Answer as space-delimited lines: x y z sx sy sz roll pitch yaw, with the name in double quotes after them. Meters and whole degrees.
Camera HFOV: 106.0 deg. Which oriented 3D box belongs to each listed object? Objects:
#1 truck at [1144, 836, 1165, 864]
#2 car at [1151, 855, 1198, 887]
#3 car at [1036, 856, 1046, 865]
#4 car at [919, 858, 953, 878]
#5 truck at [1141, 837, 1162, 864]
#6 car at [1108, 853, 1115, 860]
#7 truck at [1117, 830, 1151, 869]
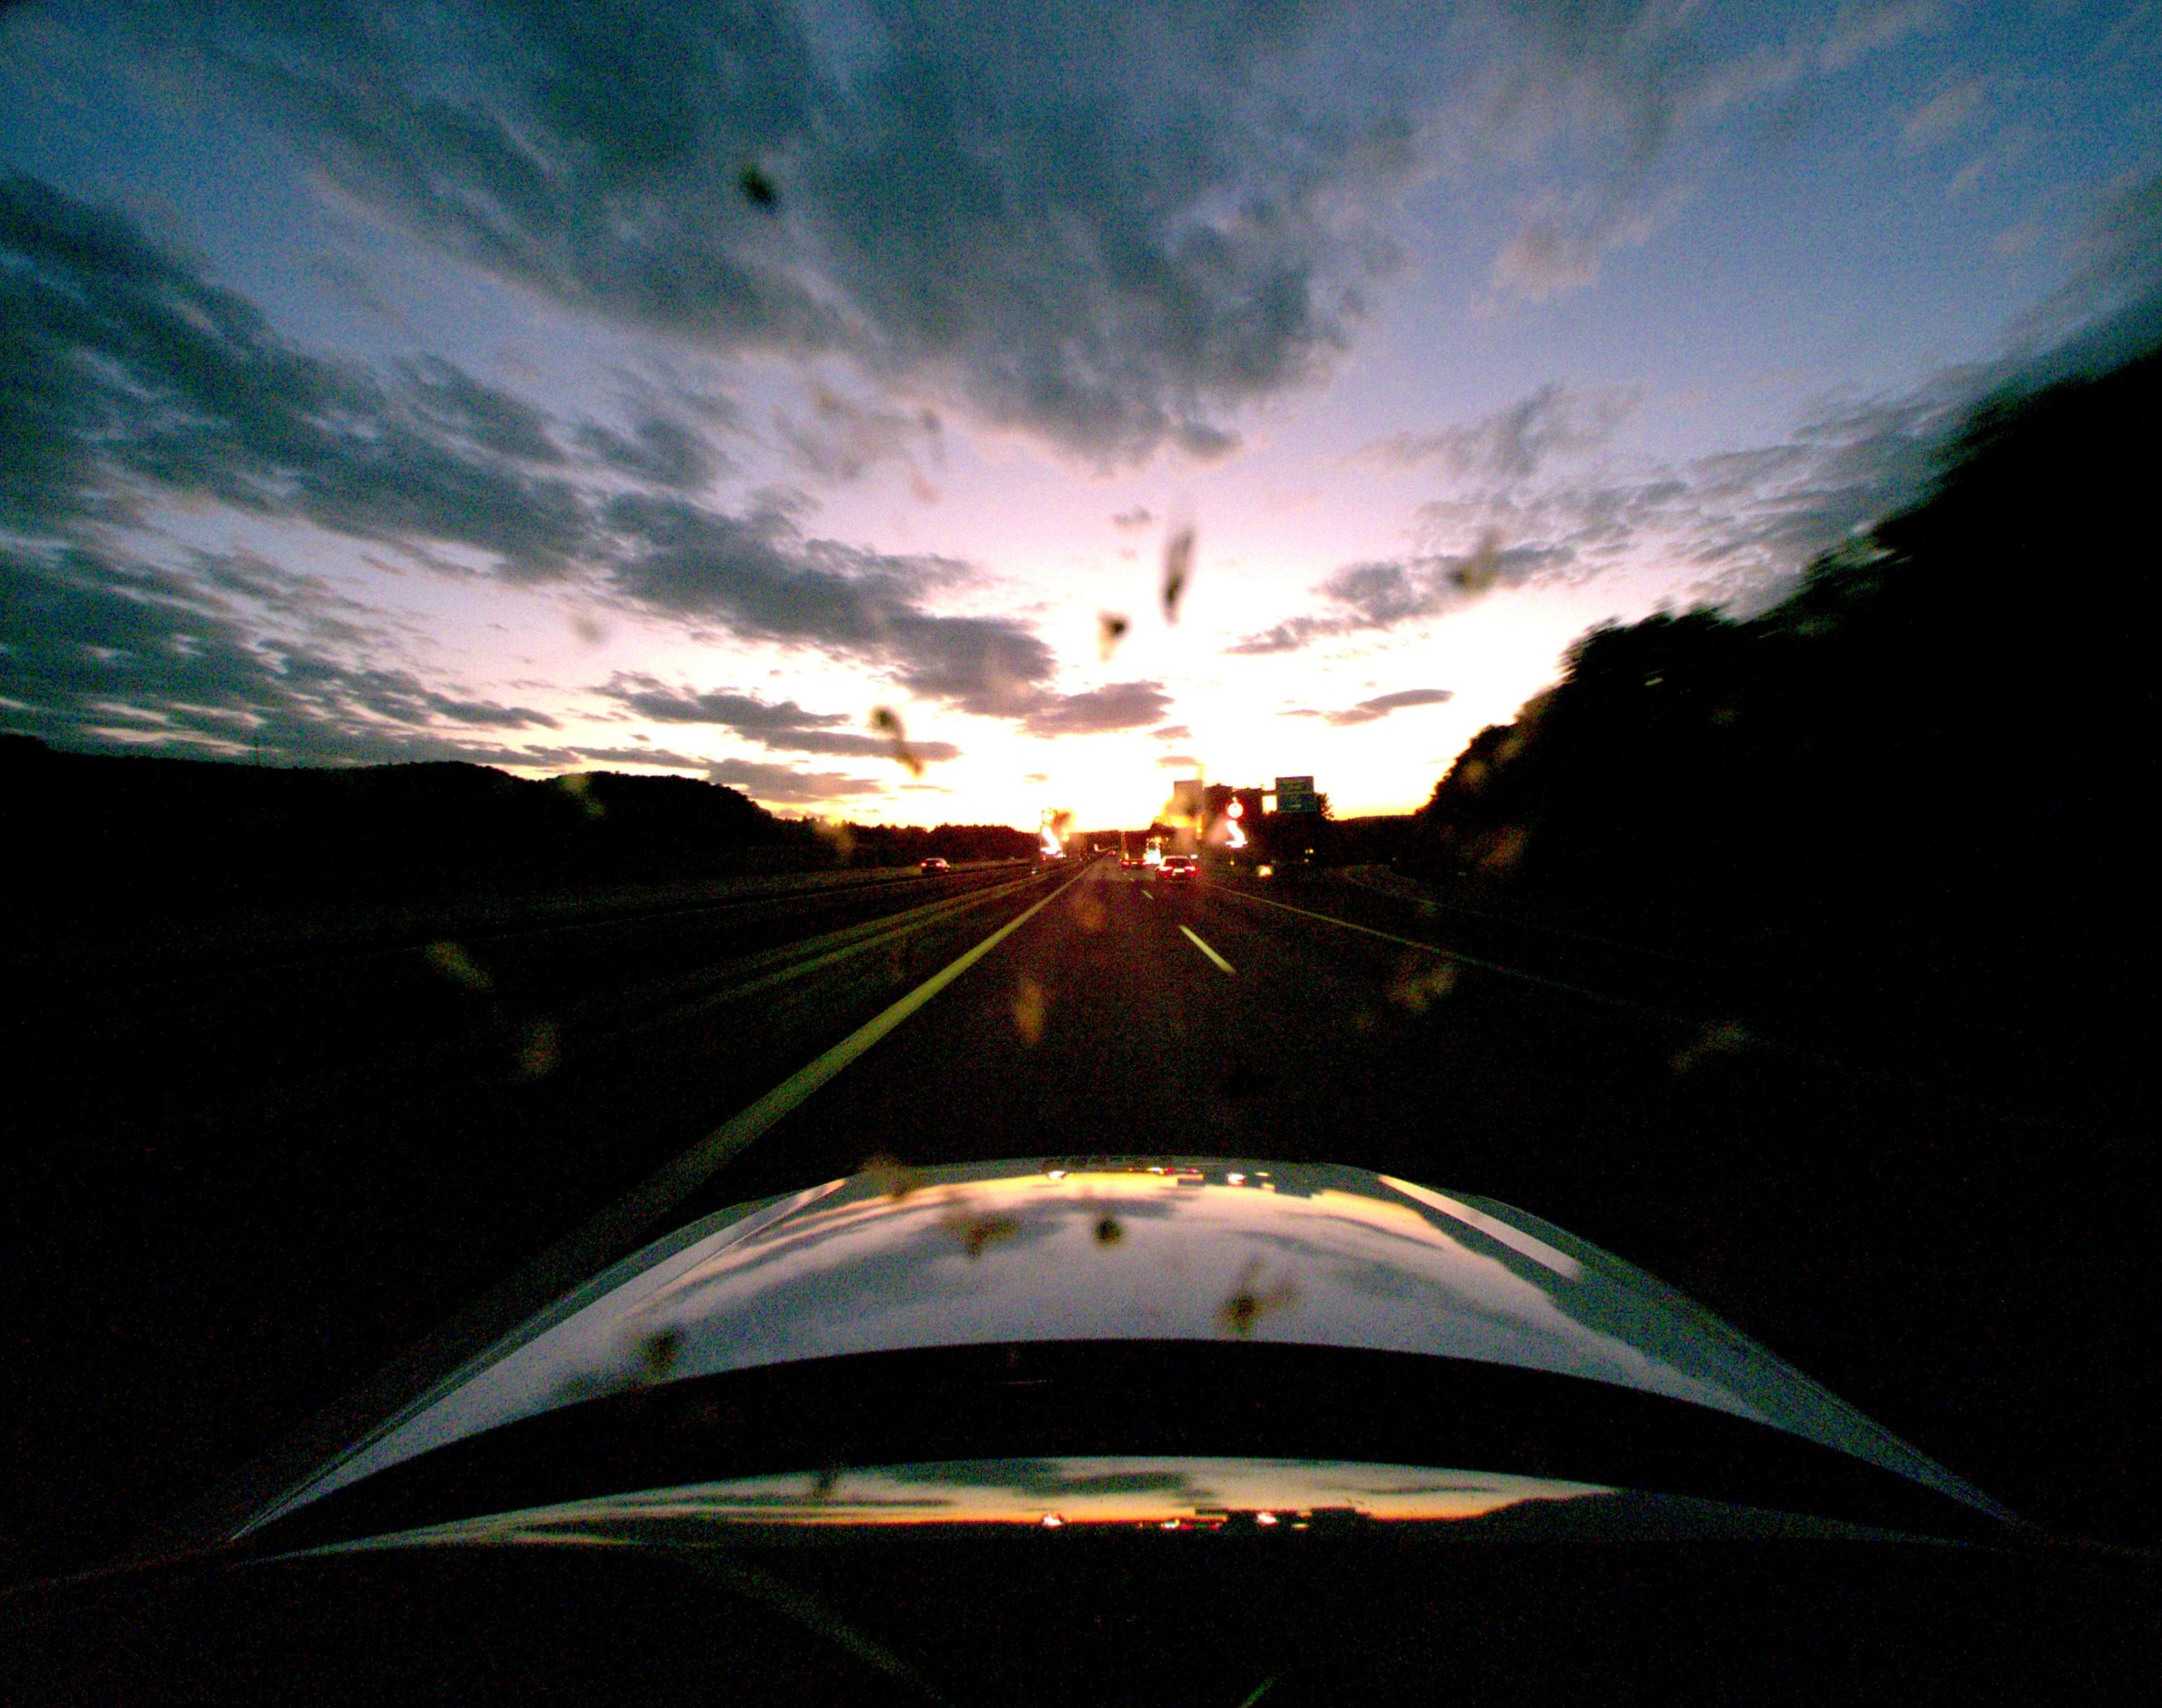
11.327 -0.609 126.324 2.777 4.059 6.413 -1 0 1 "truck"
4.722 0.841 41.744 1.909 1.442 4.000 -3 0 0 "car"
-7.797 1.197 158.619 1.706 1.605 3.723 -3 0 2 "car"
-12.290 1.166 69.262 1.865 1.561 4.521 -3 0 1 "car"
11.498 -0.560 134.097 2.902 4.111 9.152 -1 0 1 "truck"
8.935 0.718 239.999 1.986 2.013 4.001 -3 0 2 "car"
6.253 -0.486 97.147 3.497 4.301 9.894 -3 0 1 "truck"
